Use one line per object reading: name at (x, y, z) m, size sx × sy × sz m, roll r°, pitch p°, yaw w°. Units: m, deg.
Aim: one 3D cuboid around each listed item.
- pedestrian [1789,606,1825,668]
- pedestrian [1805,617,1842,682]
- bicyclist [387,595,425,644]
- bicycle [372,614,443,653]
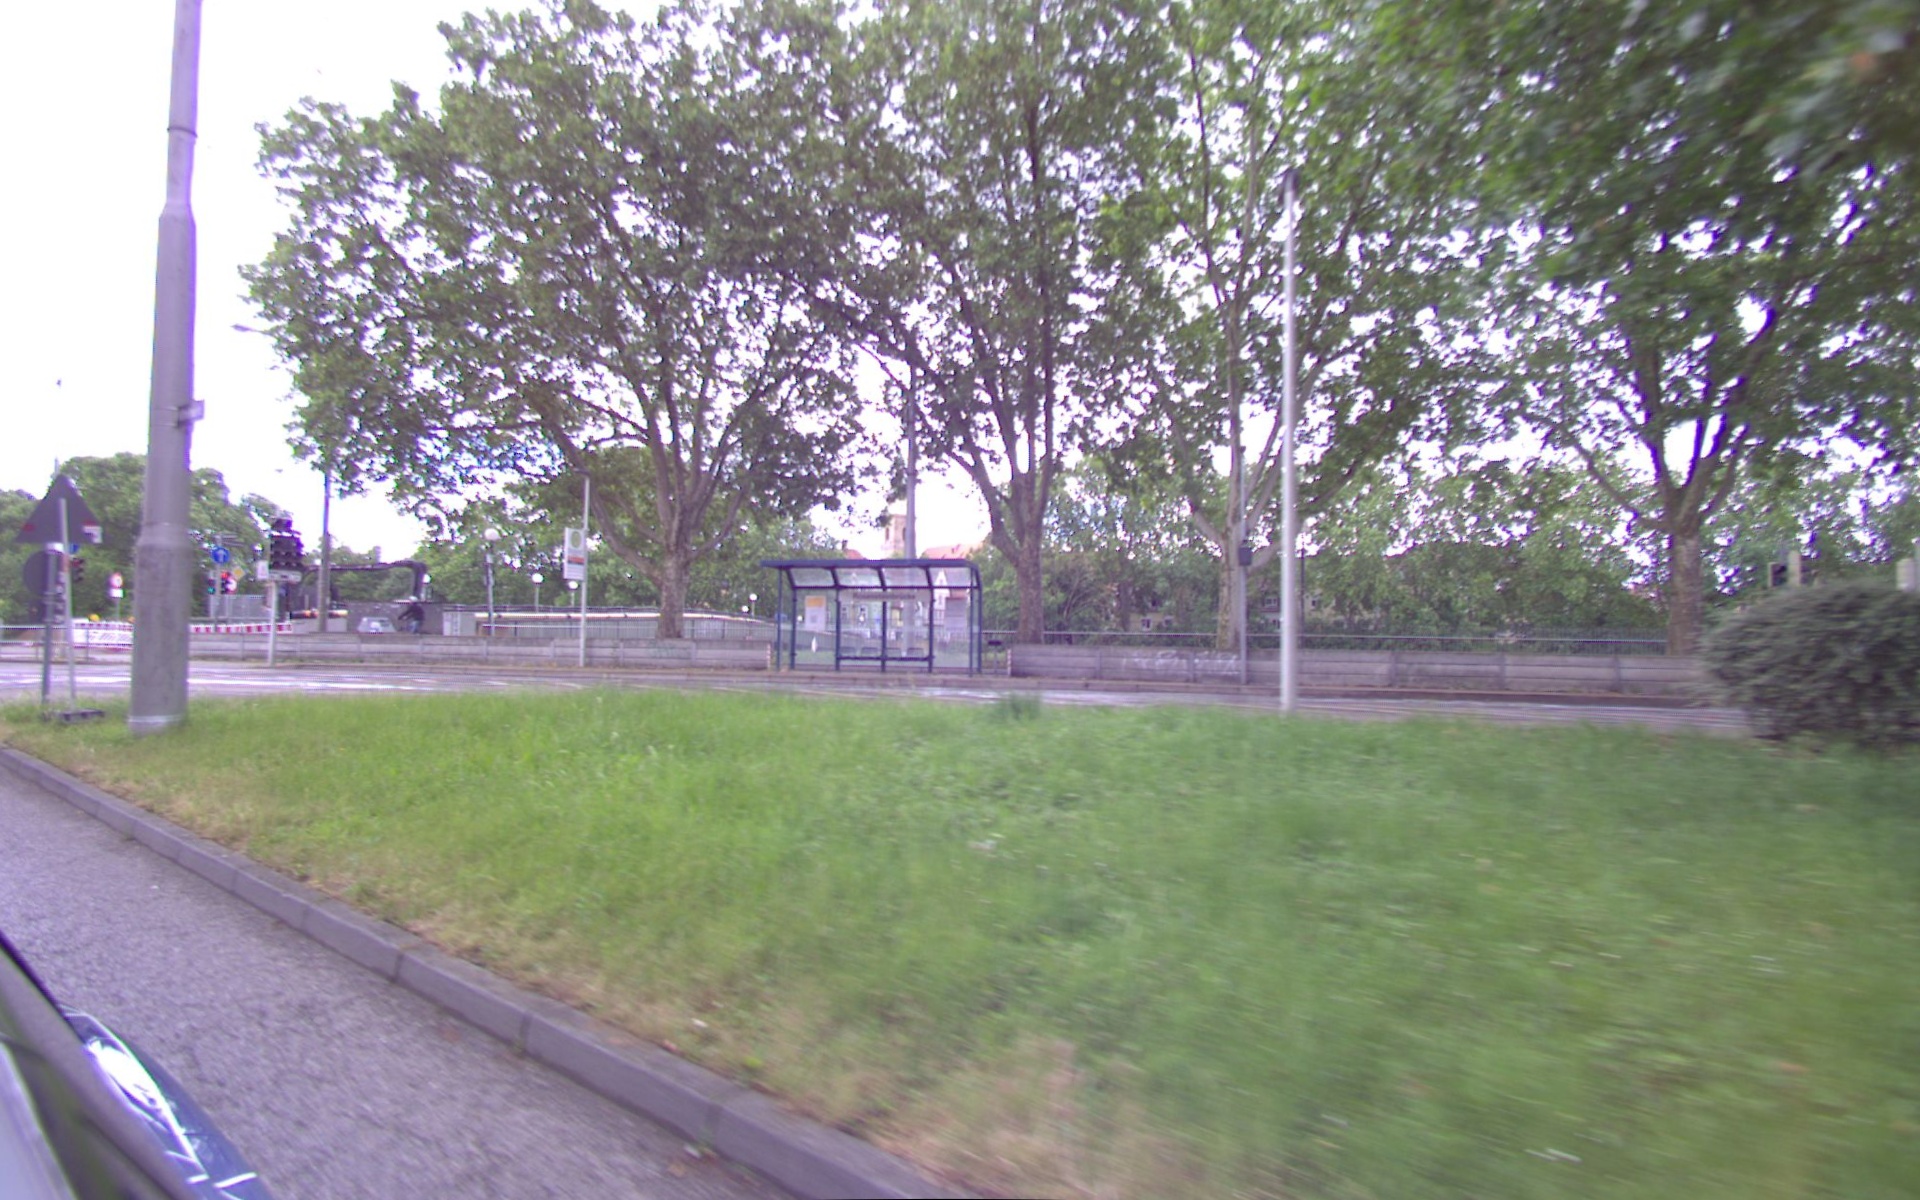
pedestrian at (22.854, 0.988, 27.312) m, size 0.529 × 1.635 × 0.500 m, roll 1°, pitch 1°, yaw 13°
pedestrian at (22.500, 1.286, 26.371) m, size 0.529 × 1.635 × 0.500 m, roll 1°, pitch 1°, yaw 13°
bicyclist at (-19.464, 0.680, 35.582) m, size 0.997 × 1.663 × 0.640 m, roll 1°, pitch 1°, yaw 10°
bicycle at (-19.412, 1.169, 35.570) m, size 2.239 × 1.287 × 0.689 m, roll 1°, pitch 1°, yaw 10°
